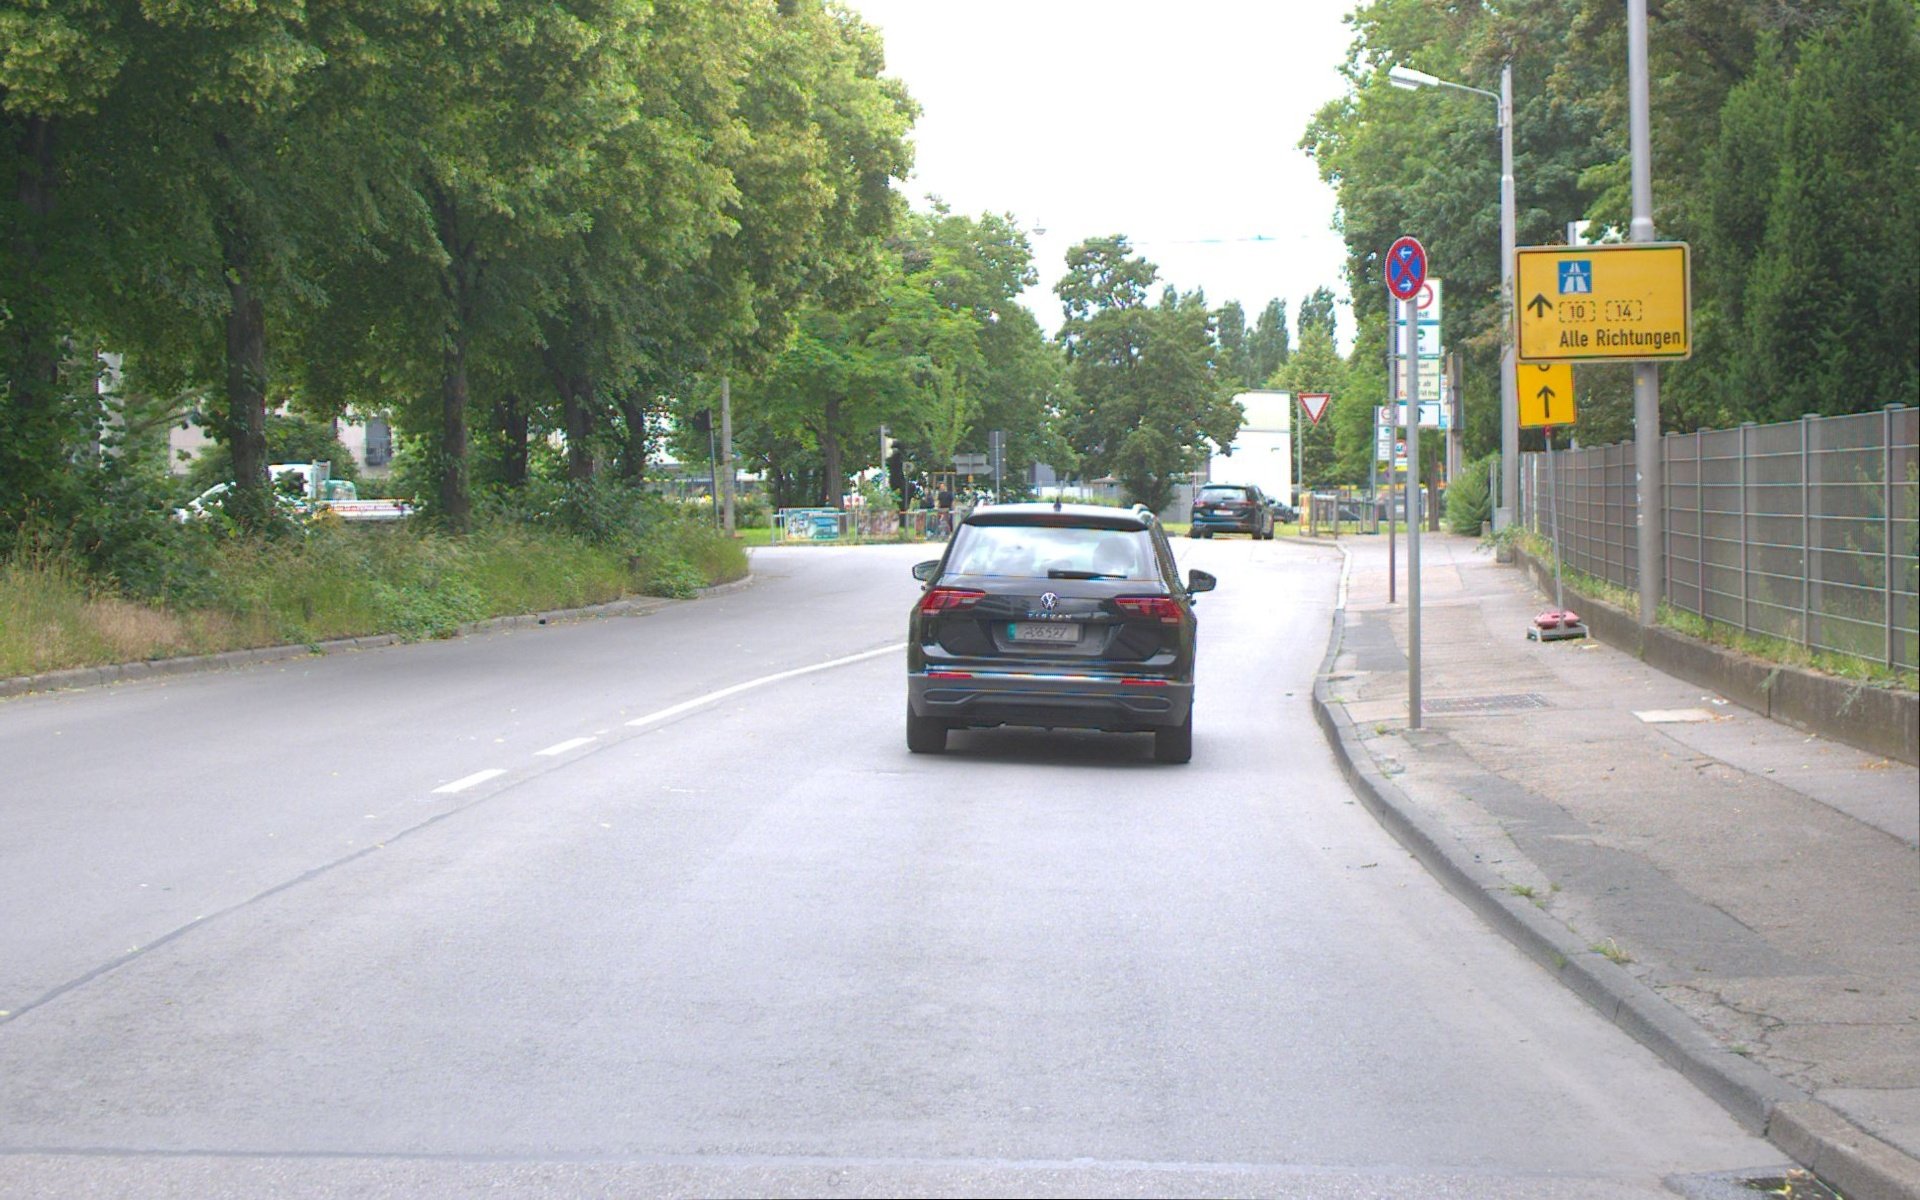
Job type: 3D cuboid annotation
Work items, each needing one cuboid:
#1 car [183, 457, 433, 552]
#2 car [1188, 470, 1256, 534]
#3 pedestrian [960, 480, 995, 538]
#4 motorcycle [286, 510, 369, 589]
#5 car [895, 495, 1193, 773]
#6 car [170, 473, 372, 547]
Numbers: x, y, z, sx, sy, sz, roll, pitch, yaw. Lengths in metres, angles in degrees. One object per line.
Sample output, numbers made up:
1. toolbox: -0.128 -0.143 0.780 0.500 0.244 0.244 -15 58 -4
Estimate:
1. car: -17.084 -2.518 90.280 6.070 2.379 2.395 -1 2 0
2. car: 6.674 -2.503 87.804 1.659 1.569 3.828 -1 2 4
3. pedestrian: 0.530 -2.753 104.323 0.725 1.736 0.743 -3 3 -43
4. motorcycle: -9.763 -0.788 53.111 0.566 1.164 2.035 -1 2 10
5. car: 0.569 0.176 22.628 1.739 1.612 3.641 2 1 2
6. car: -18.853 -2.468 94.145 4.981 1.935 2.047 0 2 12
